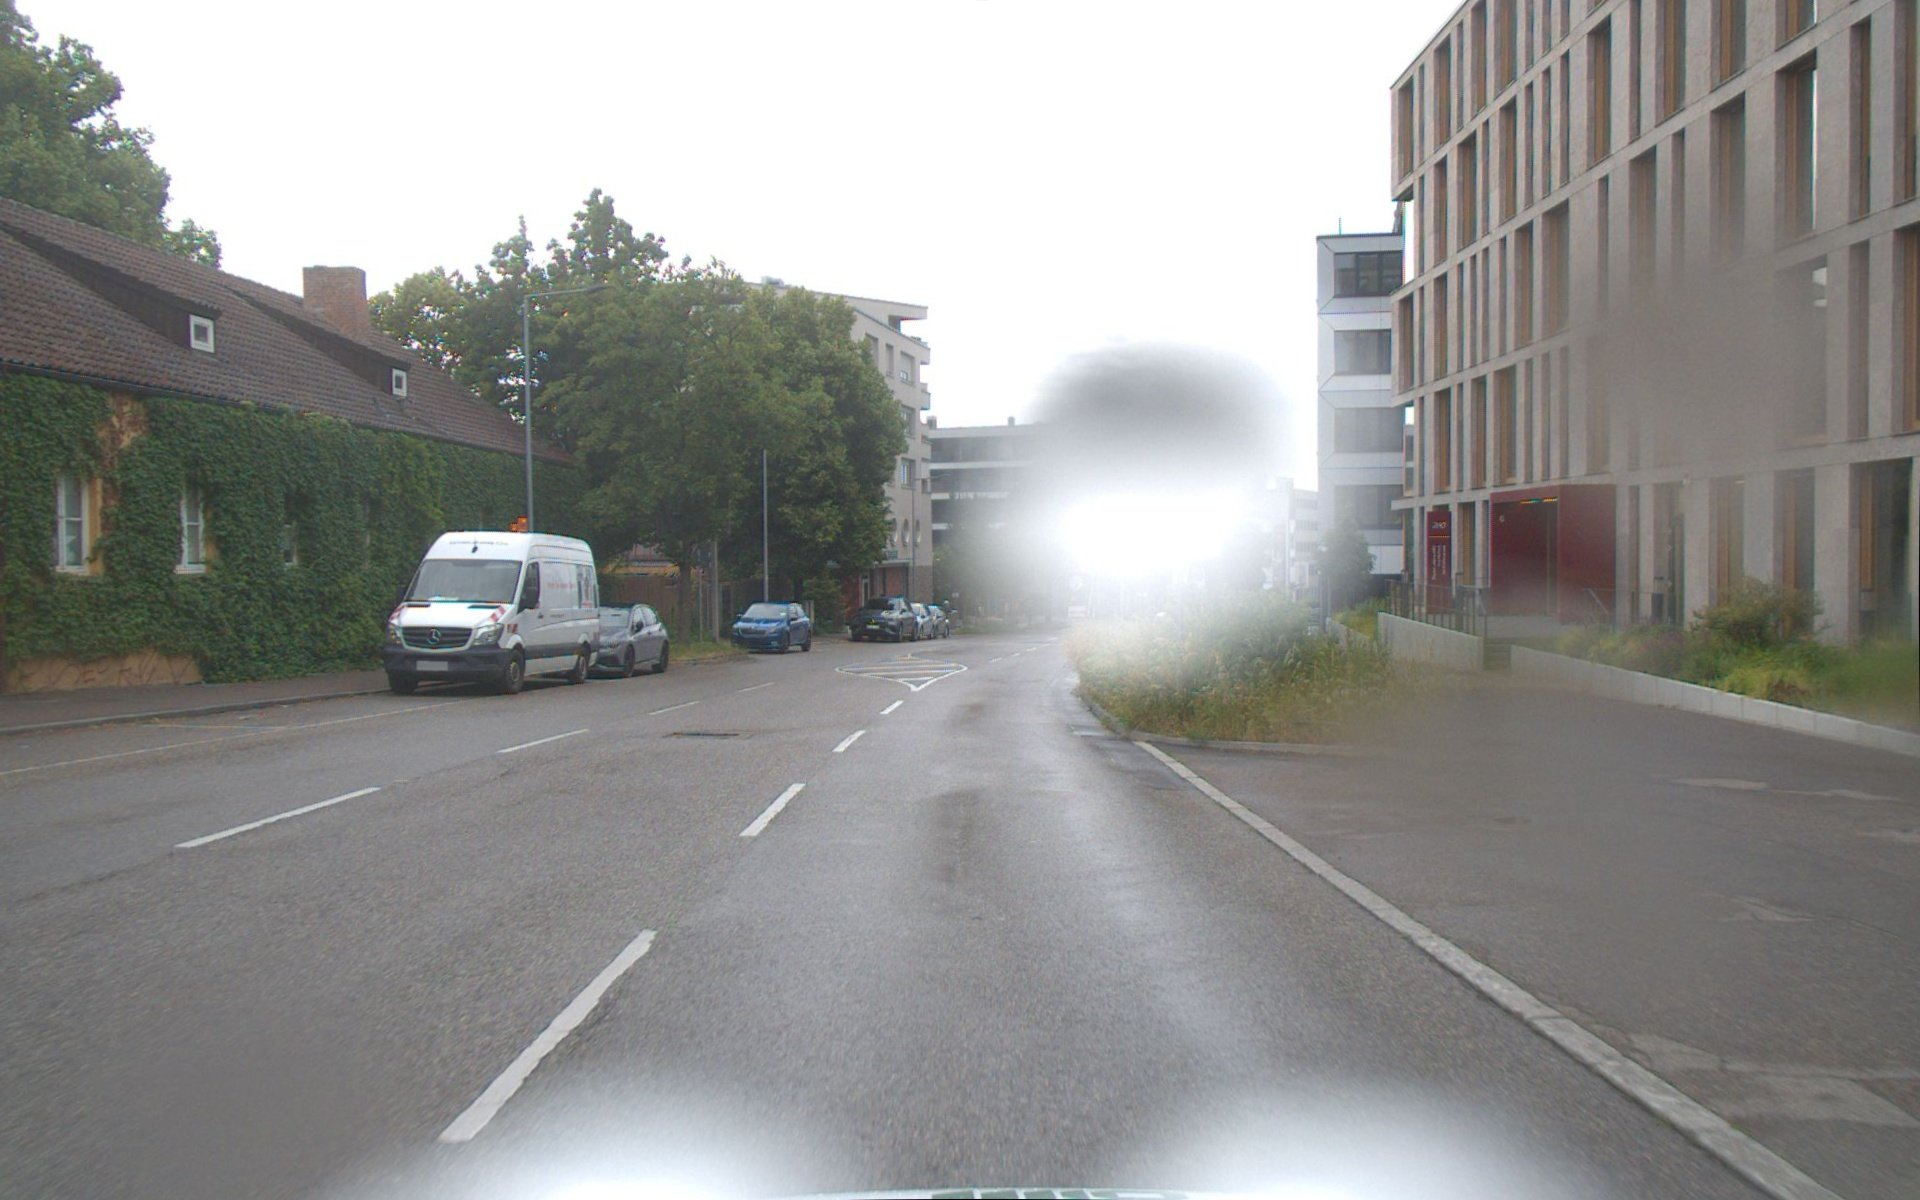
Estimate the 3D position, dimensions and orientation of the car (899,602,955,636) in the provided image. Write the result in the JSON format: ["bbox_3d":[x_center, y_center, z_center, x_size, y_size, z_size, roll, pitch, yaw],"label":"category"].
[{"bbox_3d":[-1.487,0.898,76.653,1.839,1.488,3.850,1,-1,10],"label":"car"}]

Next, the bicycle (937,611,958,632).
[{"bbox_3d":[-0.584,1.058,80.137,0.785,0.996,2.256,1,-1,5],"label":"bicycle"}]

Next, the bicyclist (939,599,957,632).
[{"bbox_3d":[-0.581,0.759,80.078,0.784,1.549,1.202,1,-1,4],"label":"bicyclist"}]

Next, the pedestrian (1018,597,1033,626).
[{"bbox_3d":[4.762,0.857,119.806,1.033,2.049,1.100,1,-1,2],"label":"pedestrian"}]

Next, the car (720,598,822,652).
[{"bbox_3d":[-5.588,0.740,49.496,1.951,1.496,4.189,1,-1,9],"label":"car"}]

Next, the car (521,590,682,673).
[{"bbox_3d":[-7.250,0.623,33.889,1.951,1.539,4.425,1,-1,5],"label":"car"}]

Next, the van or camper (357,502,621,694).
[{"bbox_3d":[-7.671,-0.032,27.781,2.291,2.813,6.145,1,0,3],"label":"van or camper"}]

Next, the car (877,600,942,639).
[{"bbox_3d":[-2.167,0.864,72.404,1.947,1.621,4.493,1,-1,10],"label":"car"}]

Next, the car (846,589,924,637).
[{"bbox_3d":[-2.947,0.544,66.464,1.951,1.818,5.415,1,-1,10],"label":"car"}]

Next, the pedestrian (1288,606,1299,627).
[{"bbox_3d":[29.036,1.402,143.877,0.805,1.827,1.208,0,-1,17],"label":"pedestrian"}]

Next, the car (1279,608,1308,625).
[{"bbox_3d":[31.530,1.536,156.366,1.771,1.510,4.493,1,-1,23],"label":"car"}]
